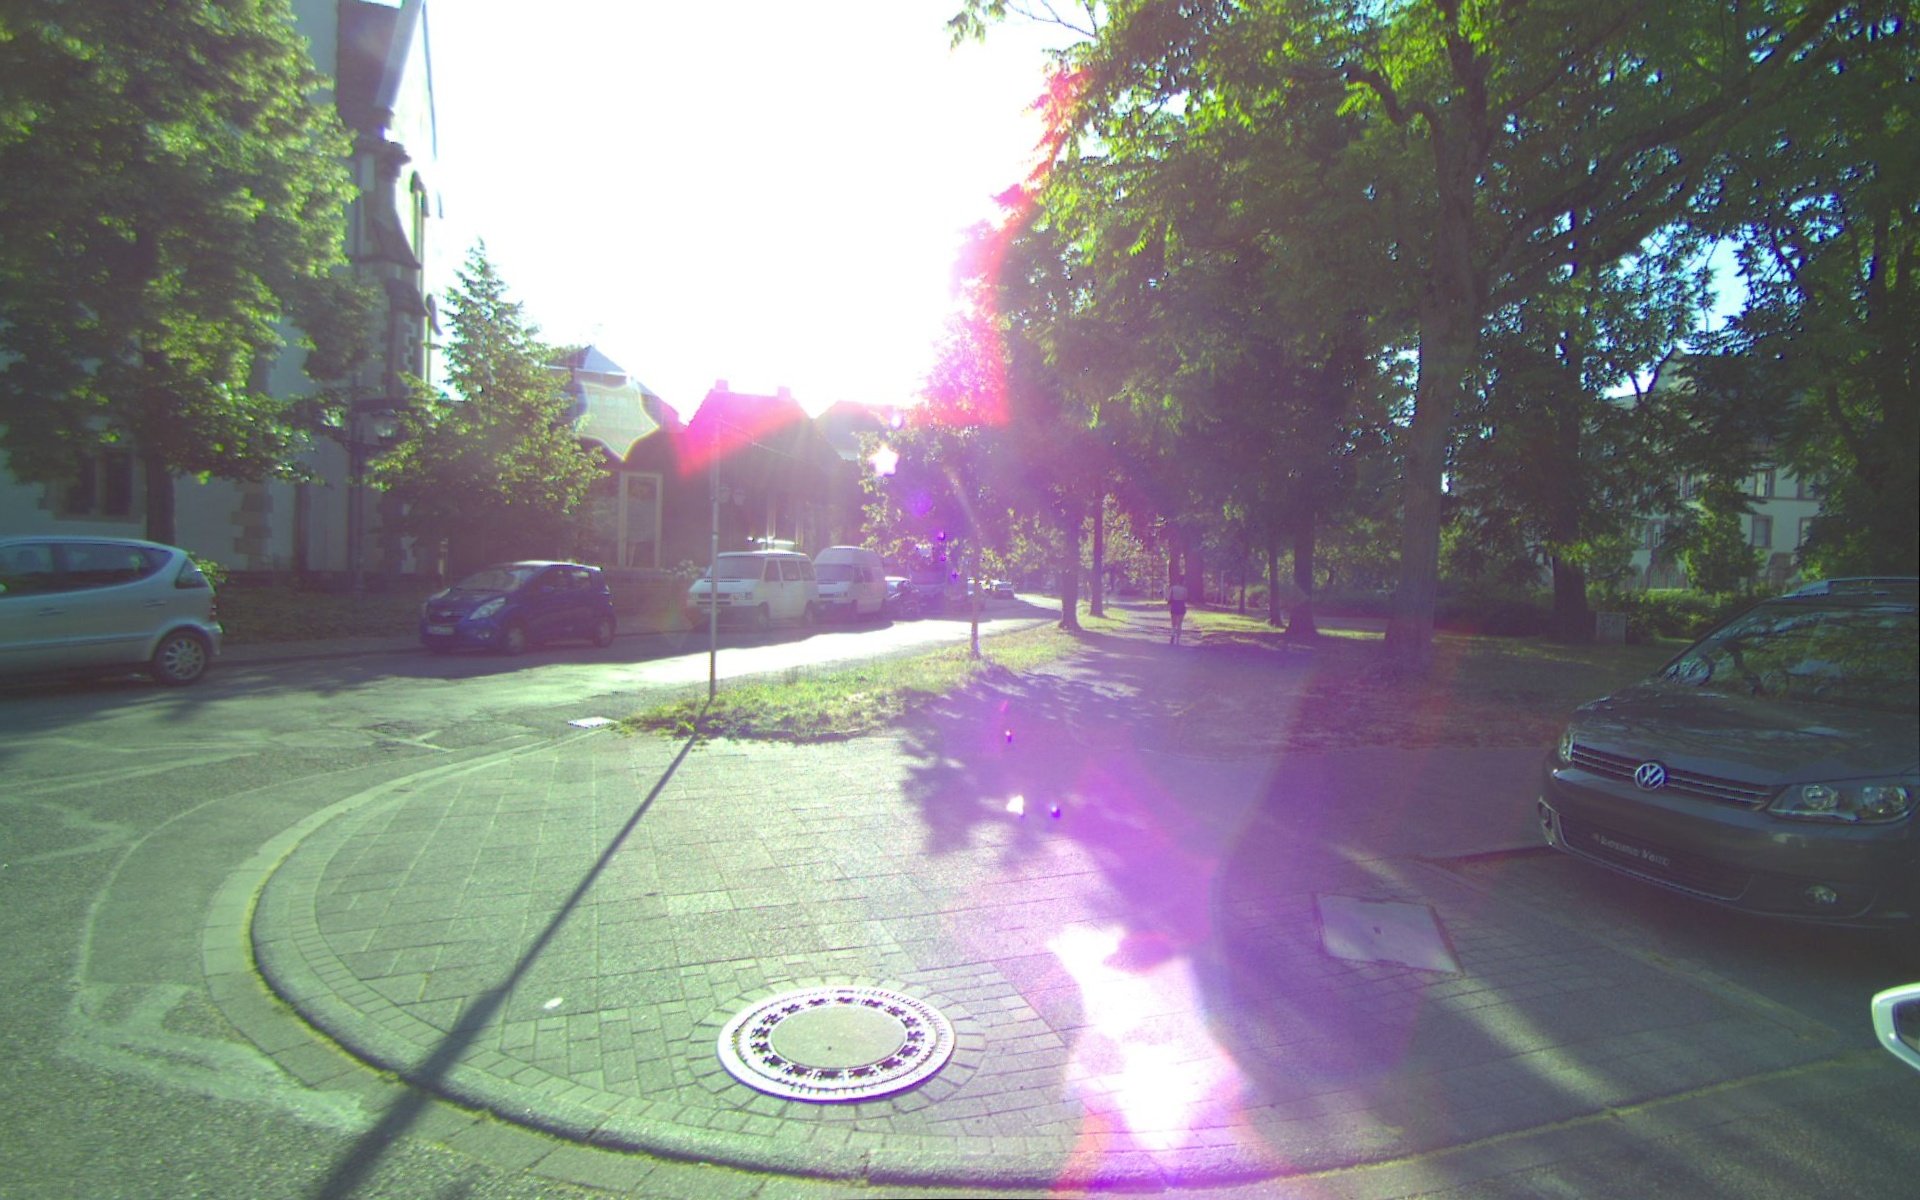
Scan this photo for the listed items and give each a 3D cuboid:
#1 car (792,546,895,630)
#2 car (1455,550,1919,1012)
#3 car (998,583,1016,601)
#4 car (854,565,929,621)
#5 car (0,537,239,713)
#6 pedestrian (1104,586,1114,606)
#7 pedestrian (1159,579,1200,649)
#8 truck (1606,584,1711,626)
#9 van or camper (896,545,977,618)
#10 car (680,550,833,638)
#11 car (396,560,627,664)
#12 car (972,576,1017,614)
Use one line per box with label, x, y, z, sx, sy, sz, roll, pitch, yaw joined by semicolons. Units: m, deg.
car;-3.608;-0.395;32.160;1.819;2.387;5.188;2;1;10
car;5.018;0.699;5.281;4.254;1.698;1.799;2;3;-20
car;4.203;-0.709;89.865;1.485;1.466;3.406;2;1;3
car;-2.509;-0.284;37.751;1.819;1.911;4.146;2;1;10
car;-9.427;0.188;9.753;1.675;1.600;3.698;2;1;15
pedestrian;12.601;-0.338;84.986;0.624;1.619;0.670;2;2;-7
pedestrian;5.167;0.325;23.639;0.761;1.596;0.767;2;2;25
truck;57.883;0.337;83.553;2.563;3.070;8.002;2;1;-5
van or camper;-0.931;-0.827;44.570;2.054;2.947;6.334;2;1;13
car;-5.059;-0.175;25.751;1.820;1.972;4.842;2;1;15
car;-7.469;0.147;17.131;1.588;1.521;3.698;2;1;15
car;1.884;-0.294;53.738;1.819;1.911;4.146;2;1;10
